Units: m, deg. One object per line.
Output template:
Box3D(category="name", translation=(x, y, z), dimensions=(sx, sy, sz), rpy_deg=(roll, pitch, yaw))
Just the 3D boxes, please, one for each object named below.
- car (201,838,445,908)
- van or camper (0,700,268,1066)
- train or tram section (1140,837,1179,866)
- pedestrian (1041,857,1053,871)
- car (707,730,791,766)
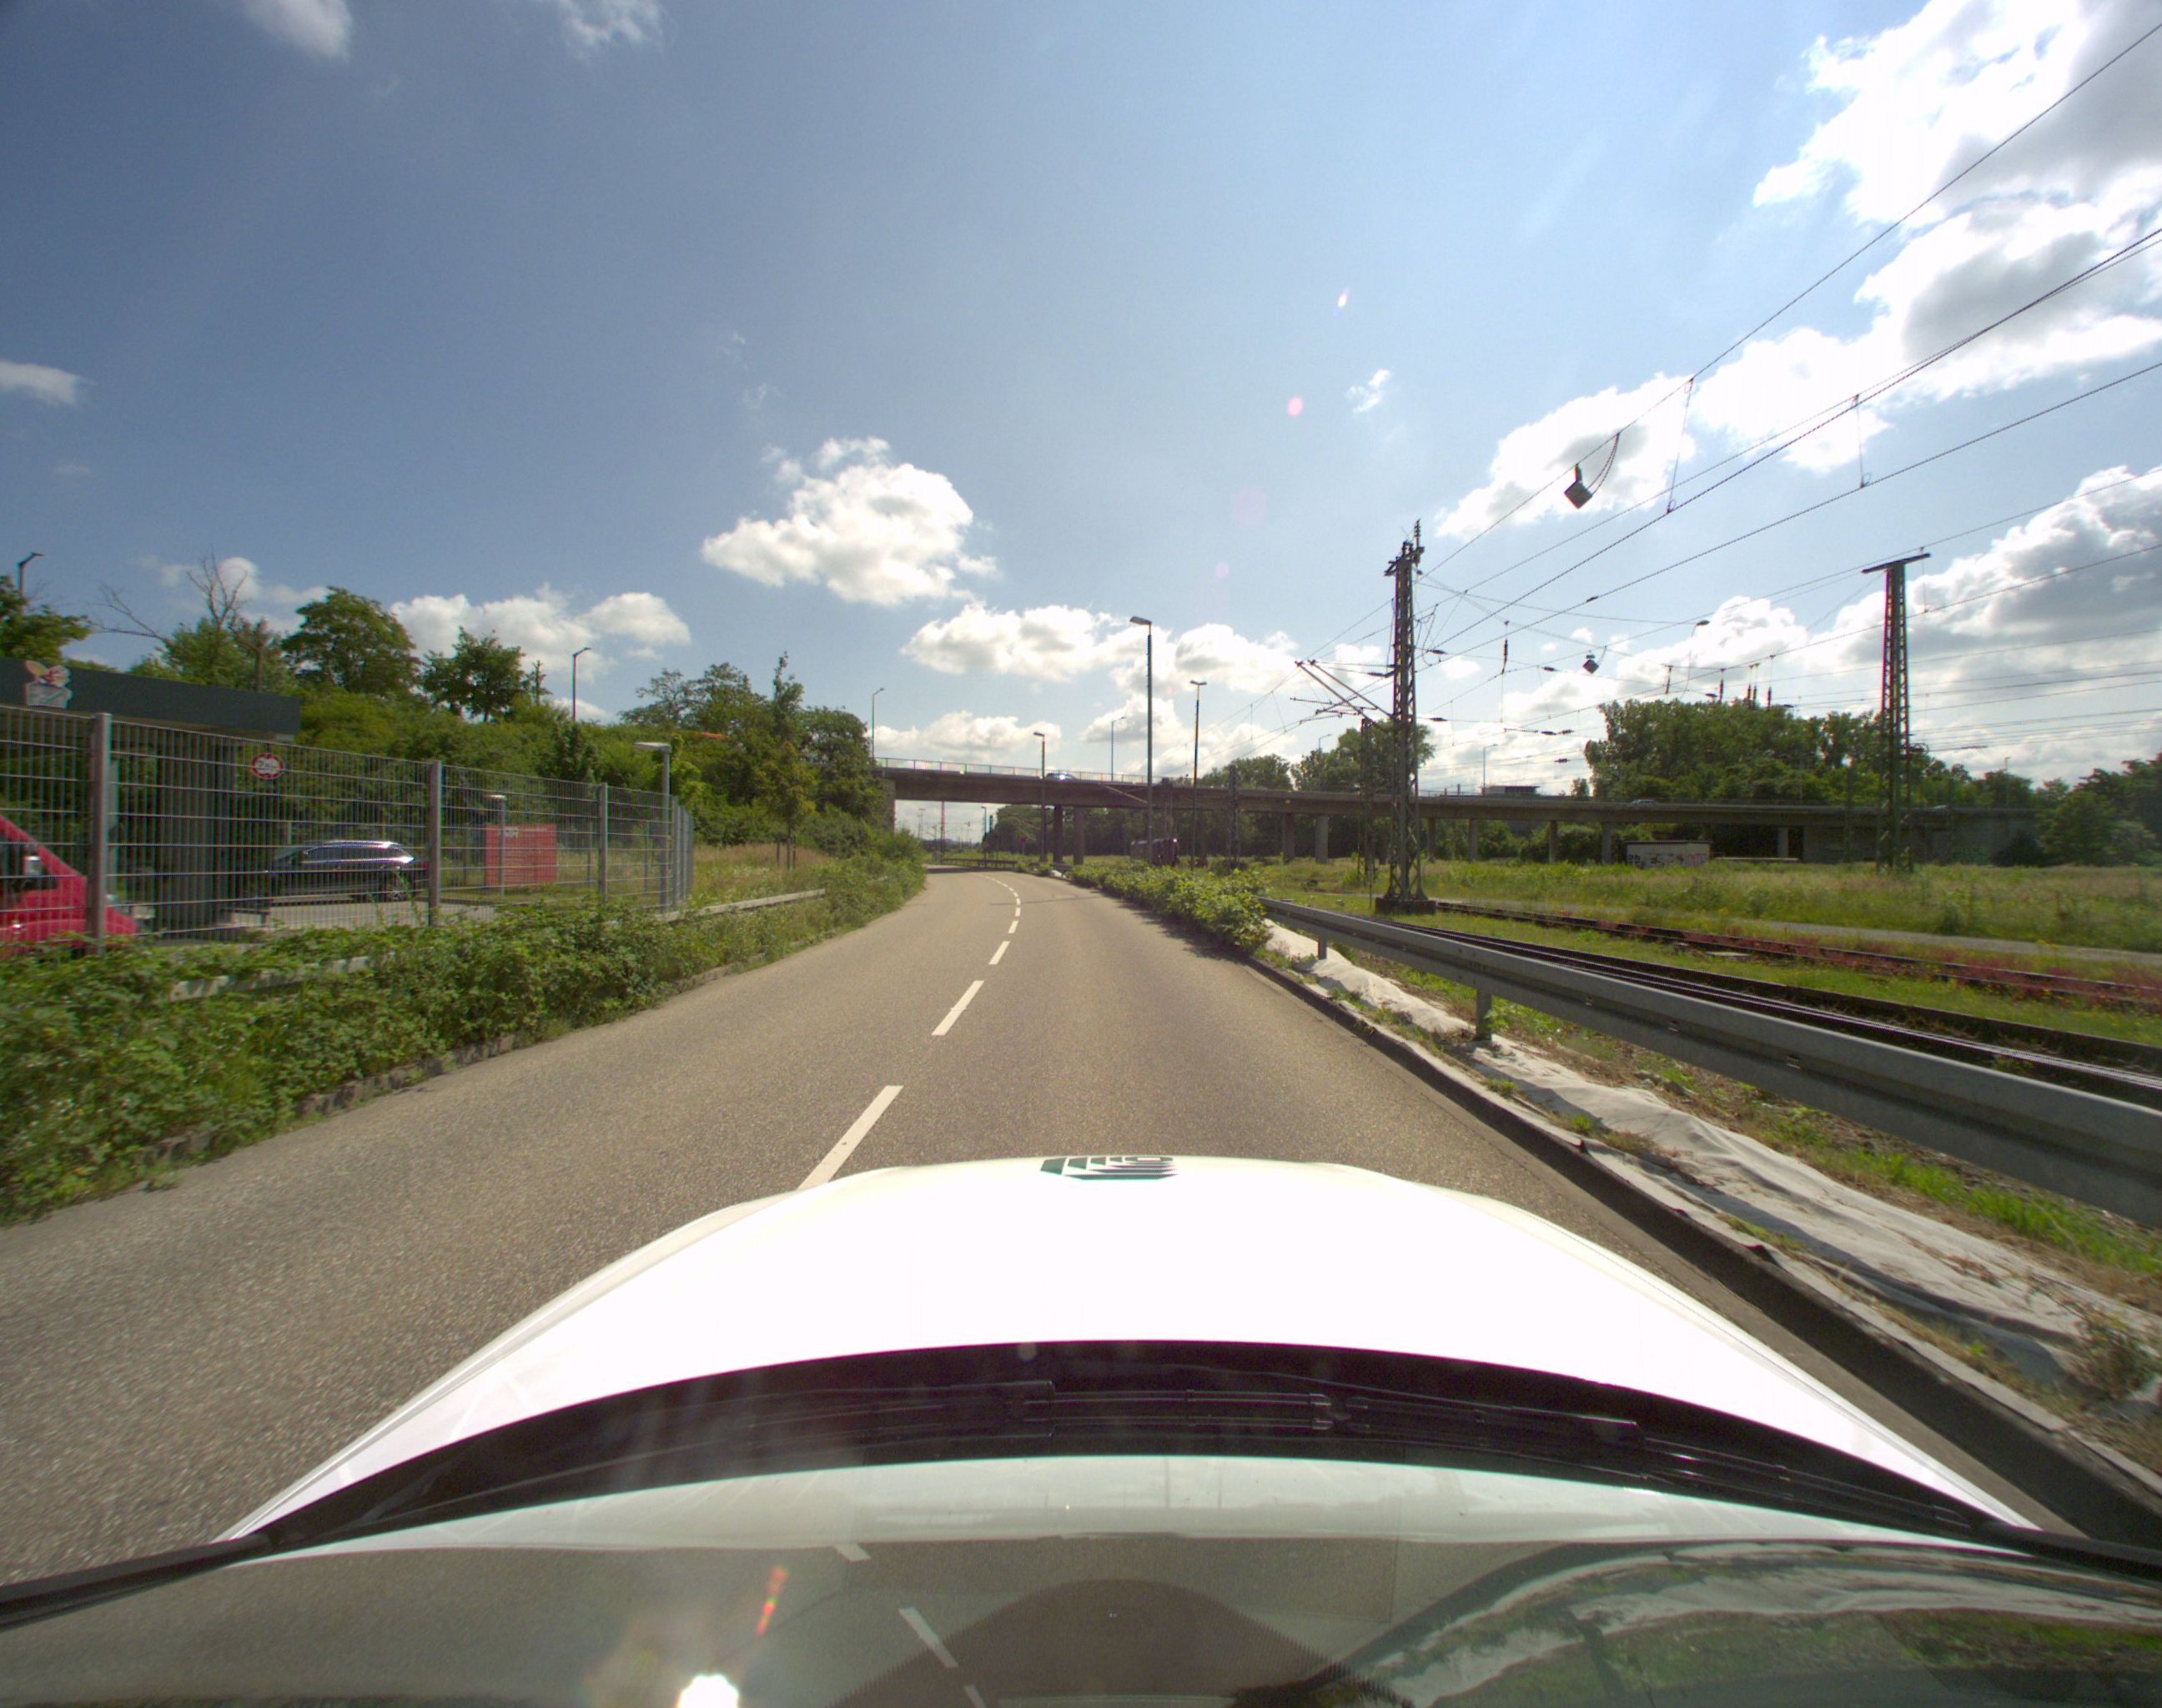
Box3D(category="car", translation=(-21.047, 0.476, 22.876), dimensions=(1.975, 1.693, 4.573), rpy_deg=(2, 0, 25))
Box3D(category="van or camper", translation=(-8.545, 0.236, 4.526), dimensions=(2.180, 2.514, 5.703), rpy_deg=(-2, 0, 1))
Box3D(category="train or tram section", translation=(9.826, -0.270, 102.823), dimensions=(2.889, 3.509, 8.539), rpy_deg=(0, -1, -8))
Box3D(category="pedestrian", translation=(-3.811, 1.072, 90.538), dimensions=(1.111, 1.540, 1.573), rpy_deg=(0, -1, -11))
Box3D(category="car", translation=(-24.411, -7.755, 59.992), dimensions=(1.975, 2.014, 5.369), rpy_deg=(-3, -1, 43))
